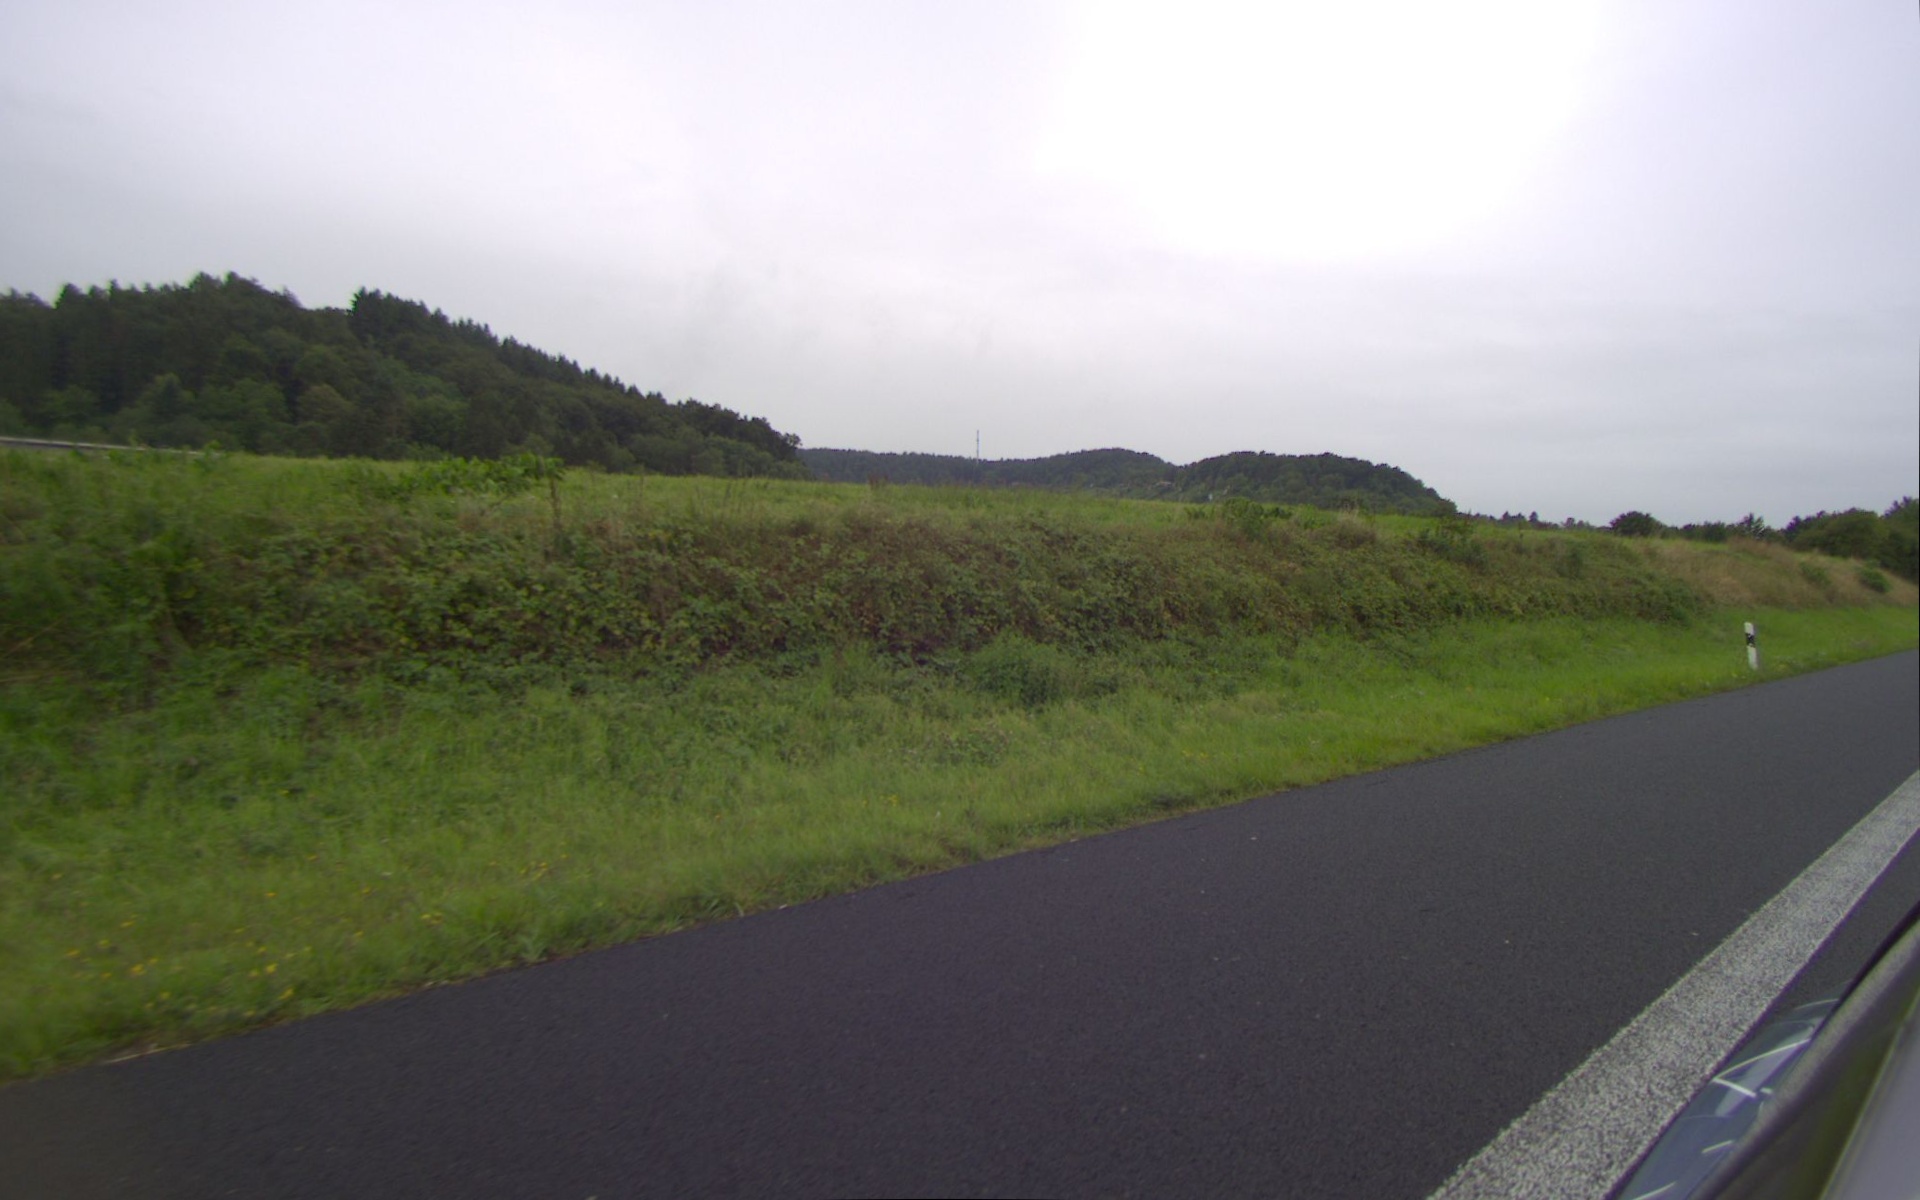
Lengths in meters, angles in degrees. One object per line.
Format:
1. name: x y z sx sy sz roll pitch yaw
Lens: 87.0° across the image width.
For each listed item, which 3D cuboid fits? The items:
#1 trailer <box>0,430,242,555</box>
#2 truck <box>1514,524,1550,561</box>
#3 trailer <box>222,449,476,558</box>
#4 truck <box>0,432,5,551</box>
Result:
1. trailer: -28.932 -3.398 33.221 2.934 3.571 8.299 0 0 40
2. truck: 67.276 -6.751 119.083 2.506 4.037 5.839 0 0 42
3. trailer: -23.614 -3.535 39.515 3.075 3.571 7.964 0 0 41
4. truck: -32.034 -3.289 29.486 2.933 3.571 5.844 0 0 39
